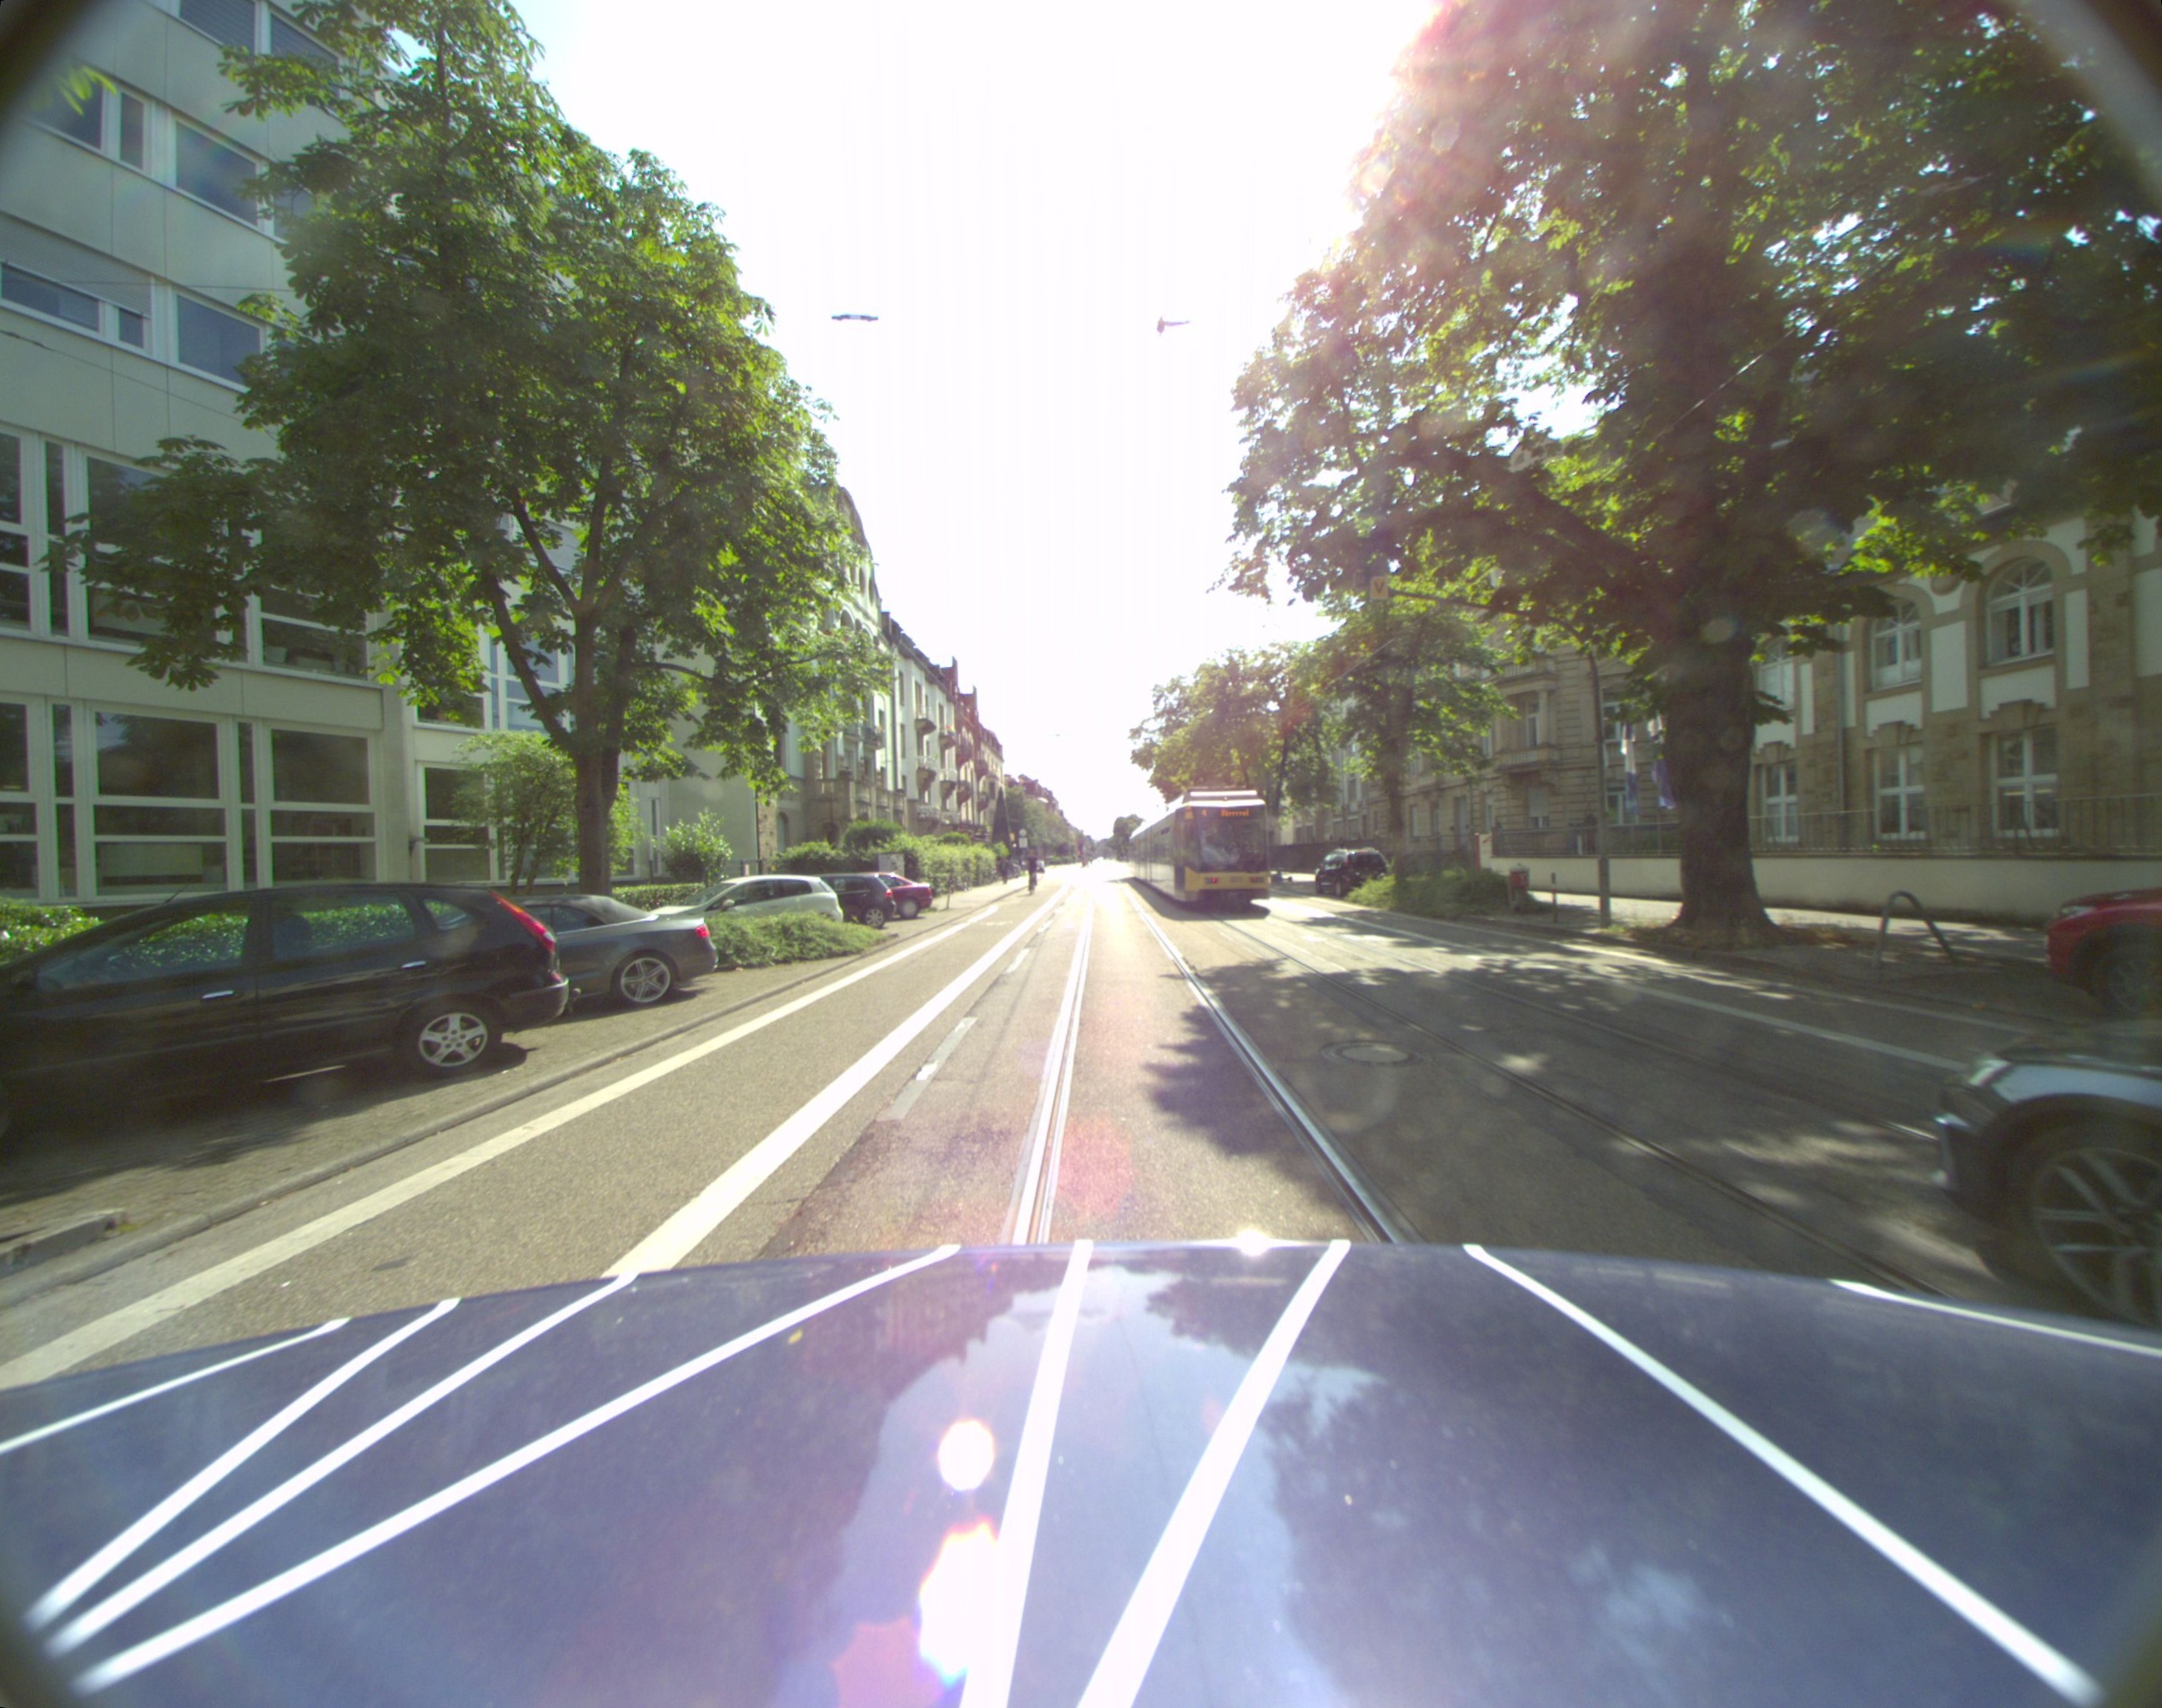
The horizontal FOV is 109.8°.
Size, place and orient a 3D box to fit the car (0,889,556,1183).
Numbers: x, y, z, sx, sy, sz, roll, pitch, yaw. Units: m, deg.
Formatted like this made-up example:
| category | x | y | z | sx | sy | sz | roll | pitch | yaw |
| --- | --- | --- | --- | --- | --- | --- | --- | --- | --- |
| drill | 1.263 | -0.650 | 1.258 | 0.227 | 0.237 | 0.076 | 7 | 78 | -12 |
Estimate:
| category | x | y | z | sx | sy | sz | roll | pitch | yaw |
| --- | --- | --- | --- | --- | --- | --- | --- | --- | --- |
| car | -6.566 | 1.192 | 5.759 | 4.007 | 1.565 | 1.900 | -3 | 0 | -40 |

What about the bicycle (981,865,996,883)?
| category | x | y | z | sx | sy | sz | roll | pitch | yaw |
| --- | --- | --- | --- | --- | --- | --- | --- | --- | --- |
| bicycle | -5.359 | 1.126 | 44.063 | 0.614 | 0.983 | 1.872 | 0 | 1 | 1 |

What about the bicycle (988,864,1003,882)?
| category | x | y | z | sx | sy | sz | roll | pitch | yaw |
| --- | --- | --- | --- | --- | --- | --- | --- | --- | --- |
| bicycle | -5.230 | 1.128 | 46.461 | 0.612 | 0.990 | 2.362 | 1 | 1 | 1 |

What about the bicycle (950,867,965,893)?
| category | x | y | z | sx | sy | sz | roll | pitch | yaw |
| --- | --- | --- | --- | --- | --- | --- | --- | --- | --- |
| bicycle | -5.719 | 1.176 | 35.243 | 0.280 | 1.102 | 2.011 | 2 | 1 | 1 |

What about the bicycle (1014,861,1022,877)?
| category | x | y | z | sx | sy | sz | roll | pitch | yaw |
| --- | --- | --- | --- | --- | --- | --- | --- | --- | --- |
| bicycle | -4.805 | 1.129 | 57.822 | 0.452 | 1.253 | 1.844 | 1 | 0 | -2 |

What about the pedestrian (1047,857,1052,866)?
| category | x | y | z | sx | sy | sz | roll | pitch | yaw |
| --- | --- | --- | --- | --- | --- | --- | --- | --- | --- |
| pedestrian | -5.869 | 1.405 | 142.290 | 0.707 | 1.644 | 0.534 | -3 | 1 | 1 |

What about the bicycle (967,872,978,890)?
| category | x | y | z | sx | sy | sz | roll | pitch | yaw |
| --- | --- | --- | --- | --- | --- | --- | --- | --- | --- |
| bicycle | -5.669 | 1.393 | 39.613 | 0.274 | 0.901 | 1.669 | 2 | -1 | 1 |

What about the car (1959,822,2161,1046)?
| category | x | y | z | sx | sy | sz | roll | pitch | yaw |
| --- | --- | --- | --- | --- | --- | --- | --- | --- | --- |
| car | 9.120 | 0.602 | 4.759 | 1.754 | 1.656 | 4.720 | -3 | 0 | 0 |

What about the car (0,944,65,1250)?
| category | x | y | z | sx | sy | sz | roll | pitch | yaw |
| --- | --- | --- | --- | --- | --- | --- | --- | --- | --- |
| car | -6.832 | 1.227 | 2.392 | 4.084 | 1.434 | 1.722 | -1 | -2 | -43 |

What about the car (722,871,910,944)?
| category | x | y | z | sx | sy | sz | roll | pitch | yaw |
| --- | --- | --- | --- | --- | --- | --- | --- | --- | --- |
| car | -6.474 | 1.245 | 18.805 | 4.007 | 1.440 | 1.695 | -2 | 0 | -41 |

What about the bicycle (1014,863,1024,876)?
| category | x | y | z | sx | sy | sz | roll | pitch | yaw |
| --- | --- | --- | --- | --- | --- | --- | --- | --- | --- |
| bicycle | -5.082 | 1.260 | 62.651 | 0.600 | 0.955 | 3.066 | 2 | 0 | -2 |

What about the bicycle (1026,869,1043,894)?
| category | x | y | z | sx | sy | sz | roll | pitch | yaw |
| --- | --- | --- | --- | --- | --- | --- | --- | --- | --- |
| bicycle | -2.150 | 1.271 | 35.301 | 0.617 | 1.039 | 1.835 | 2 | 2 | 1 |

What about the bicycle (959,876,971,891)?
| category | x | y | z | sx | sy | sz | roll | pitch | yaw |
| --- | --- | --- | --- | --- | --- | --- | --- | --- | --- |
| bicycle | -5.676 | 1.422 | 37.157 | 0.280 | 0.673 | 1.559 | 2 | 1 | 1 |

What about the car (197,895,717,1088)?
| category | x | y | z | sx | sy | sz | roll | pitch | yaw |
| --- | --- | --- | --- | --- | --- | --- | --- | --- | --- |
| car | -6.740 | 1.304 | 8.703 | 4.183 | 1.341 | 1.900 | -3 | 0 | -43 |

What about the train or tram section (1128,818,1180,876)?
| category | x | y | z | sx | sy | sz | roll | pitch | yaw |
| --- | --- | --- | --- | --- | --- | --- | --- | --- | --- |
| train or tram section | 4.693 | -0.340 | 51.092 | 2.659 | 3.416 | 12.317 | 0 | -1 | 2 |

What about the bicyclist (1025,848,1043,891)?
| category | x | y | z | sx | sy | sz | roll | pitch | yaw |
| --- | --- | --- | --- | --- | --- | --- | --- | --- | --- |
| bicyclist | -2.173 | 0.684 | 35.248 | 0.608 | 1.937 | 1.130 | -3 | 1 | 1 |

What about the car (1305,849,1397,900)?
| category | x | y | z | sx | sy | sz | roll | pitch | yaw |
| --- | --- | --- | --- | --- | --- | --- | --- | --- | --- |
| car | 9.803 | 0.667 | 27.986 | 1.811 | 1.631 | 4.331 | -3 | 0 | 1 |

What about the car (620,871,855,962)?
| category | x | y | z | sx | sy | sz | roll | pitch | yaw |
| --- | --- | --- | --- | --- | --- | --- | --- | --- | --- |
| car | -6.835 | 1.159 | 15.421 | 4.008 | 1.452 | 1.531 | -2 | 0 | -44 |

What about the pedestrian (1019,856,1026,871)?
| category | x | y | z | sx | sy | sz | roll | pitch | yaw |
| --- | --- | --- | --- | --- | --- | --- | --- | --- | --- |
| pedestrian | -7.342 | 1.153 | 96.025 | 0.661 | 1.831 | 0.873 | 6 | 0 | -7 |

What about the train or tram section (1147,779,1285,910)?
| category | x | y | z | sx | sy | sz | roll | pitch | yaw |
| --- | --- | --- | --- | --- | --- | --- | --- | --- | --- |
| train or tram section | 4.059 | -0.314 | 26.501 | 2.659 | 3.336 | 14.108 | 0 | 1 | 2 |

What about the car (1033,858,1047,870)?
| category | x | y | z | sx | sy | sz | roll | pitch | yaw |
| --- | --- | --- | --- | --- | --- | --- | --- | --- | --- |
| car | -4.922 | 1.184 | 90.766 | 1.517 | 1.490 | 2.794 | 1 | 0 | -1 |

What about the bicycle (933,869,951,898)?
| category | x | y | z | sx | sy | sz | roll | pitch | yaw |
| --- | --- | --- | --- | --- | --- | --- | --- | --- | --- |
| bicycle | -5.788 | 1.206 | 31.725 | 0.280 | 1.102 | 2.011 | 2 | 1 | 1 |

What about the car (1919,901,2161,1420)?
| category | x | y | z | sx | sy | sz | roll | pitch | yaw |
| --- | --- | --- | --- | --- | --- | --- | --- | --- | --- |
| car | 3.838 | 0.856 | 0.470 | 1.803 | 1.380 | 4.426 | -1 | 0 | 1 |

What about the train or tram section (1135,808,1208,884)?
| category | x | y | z | sx | sy | sz | roll | pitch | yaw |
| --- | --- | --- | --- | --- | --- | --- | --- | --- | --- |
| train or tram section | 4.396 | -0.398 | 39.226 | 2.659 | 3.369 | 11.473 | 0 | 1 | 2 |

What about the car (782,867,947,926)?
| category | x | y | z | sx | sy | sz | roll | pitch | yaw |
| --- | --- | --- | --- | --- | --- | --- | --- | --- | --- |
| car | -6.177 | 1.151 | 21.971 | 4.168 | 1.415 | 1.861 | -1 | 0 | -41 |

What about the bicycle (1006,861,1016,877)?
| category | x | y | z | sx | sy | sz | roll | pitch | yaw |
| --- | --- | --- | --- | --- | --- | --- | --- | --- | --- |
| bicycle | -5.182 | 1.095 | 56.425 | 0.452 | 1.116 | 1.844 | 1 | 0 | 2 |

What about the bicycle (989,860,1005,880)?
| category | x | y | z | sx | sy | sz | roll | pitch | yaw |
| --- | --- | --- | --- | --- | --- | --- | --- | --- | --- |
| bicycle | -5.496 | 1.058 | 49.936 | 0.742 | 1.224 | 2.516 | -1 | 1 | 1 |

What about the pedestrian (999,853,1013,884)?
| category | x | y | z | sx | sy | sz | roll | pitch | yaw |
| --- | --- | --- | --- | --- | --- | --- | --- | --- | --- |
| pedestrian | -4.626 | 0.897 | 46.822 | 0.790 | 1.851 | 0.580 | 1 | 1 | -6 |
